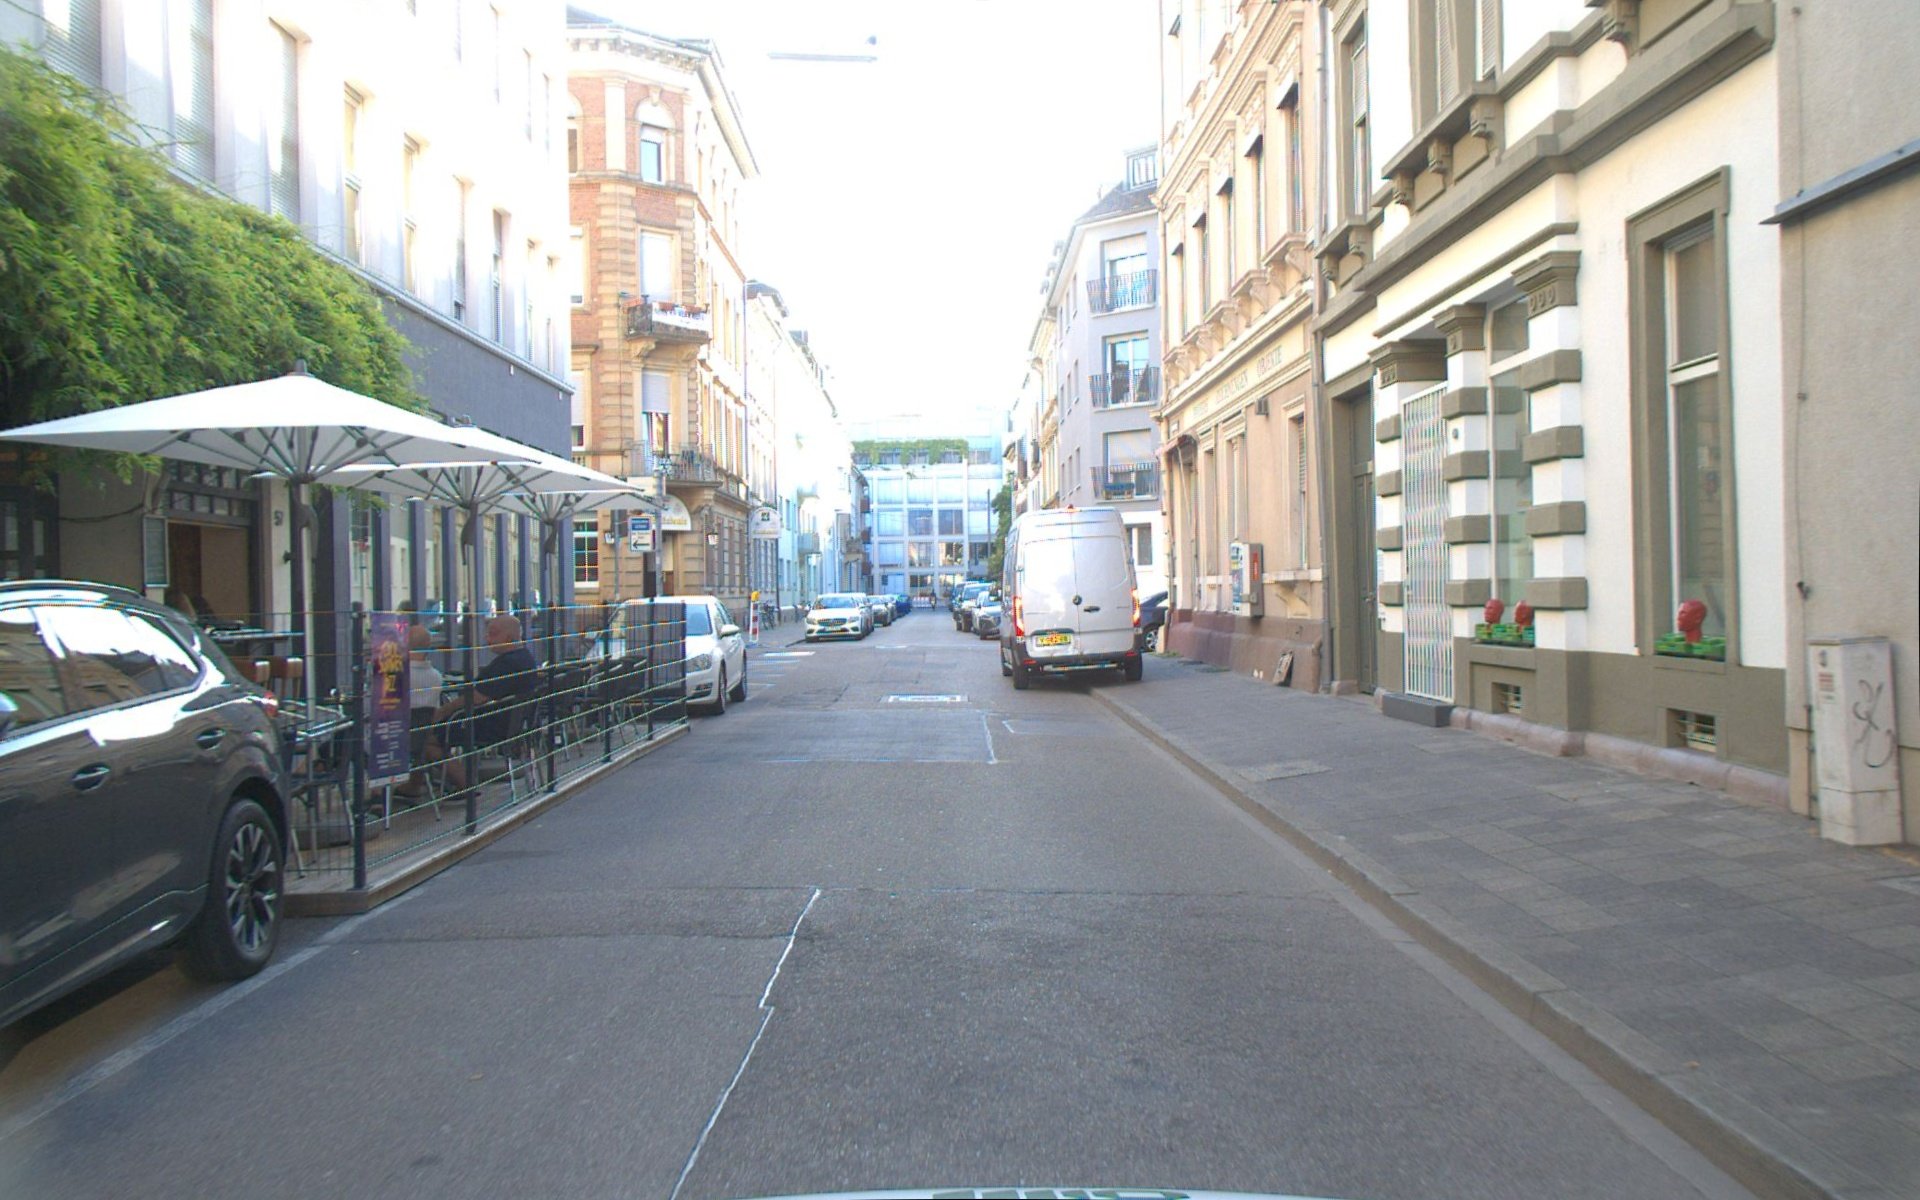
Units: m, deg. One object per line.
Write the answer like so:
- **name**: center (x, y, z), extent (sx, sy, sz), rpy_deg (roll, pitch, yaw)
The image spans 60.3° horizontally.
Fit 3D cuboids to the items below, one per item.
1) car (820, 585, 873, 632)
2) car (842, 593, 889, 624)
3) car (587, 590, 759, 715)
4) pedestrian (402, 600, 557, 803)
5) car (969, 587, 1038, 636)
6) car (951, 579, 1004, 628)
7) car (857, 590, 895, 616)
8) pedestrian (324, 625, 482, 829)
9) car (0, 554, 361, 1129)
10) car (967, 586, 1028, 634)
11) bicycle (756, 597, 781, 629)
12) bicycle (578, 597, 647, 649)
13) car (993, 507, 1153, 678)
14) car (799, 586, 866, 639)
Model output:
- **car**: center (-3.996, 0.286, 58.658), extent (1.591, 1.604, 3.754), rpy_deg (-1, 0, 1)
- **car**: center (-4.294, 0.370, 75.910), extent (1.953, 1.378, 4.428), rpy_deg (-1, 0, -1)
- **car**: center (-3.627, 0.614, 21.478), extent (1.624, 1.438, 3.881), rpy_deg (-1, 0, -2)
- **pedestrian**: center (-3.269, 0.665, 11.326), extent (0.765, 1.309, 0.915), rpy_deg (-1, 0, -1)
- **car**: center (1.335, 0.321, 52.015), extent (1.899, 1.396, 3.787), rpy_deg (-3, 0, -2)
- **car**: center (0.637, 0.113, 63.492), extent (1.855, 1.815, 3.999), rpy_deg (-1, 0, -2)
- **car**: center (-4.753, 0.157, 93.675), extent (2.129, 1.443, 3.998), rpy_deg (-1, 0, -3)
- **pedestrian**: center (-3.457, 0.761, 10.282), extent (0.542, 1.186, 0.740), rpy_deg (-1, 0, 31)
- **car**: center (-3.654, 0.717, 5.311), extent (1.844, 1.595, 4.768), rpy_deg (-3, 1, -3)
- **car**: center (1.286, 0.327, 58.086), extent (1.924, 1.584, 3.888), rpy_deg (-1, 0, -1)
- **bicycle**: center (-7.428, 0.494, 64.332), extent (0.722, 1.181, 2.461), rpy_deg (-1, 0, -1)
- **bicycle**: center (-9.307, 0.612, 44.366), extent (1.723, 1.297, 0.660), rpy_deg (-1, 3, -5)
- **car**: center (1.725, -0.128, 27.474), extent (2.230, 2.482, 6.203), rpy_deg (-1, 0, 0)
- **car**: center (-4.032, 0.360, 52.966), extent (1.954, 1.591, 4.504), rpy_deg (-1, 0, -3)
